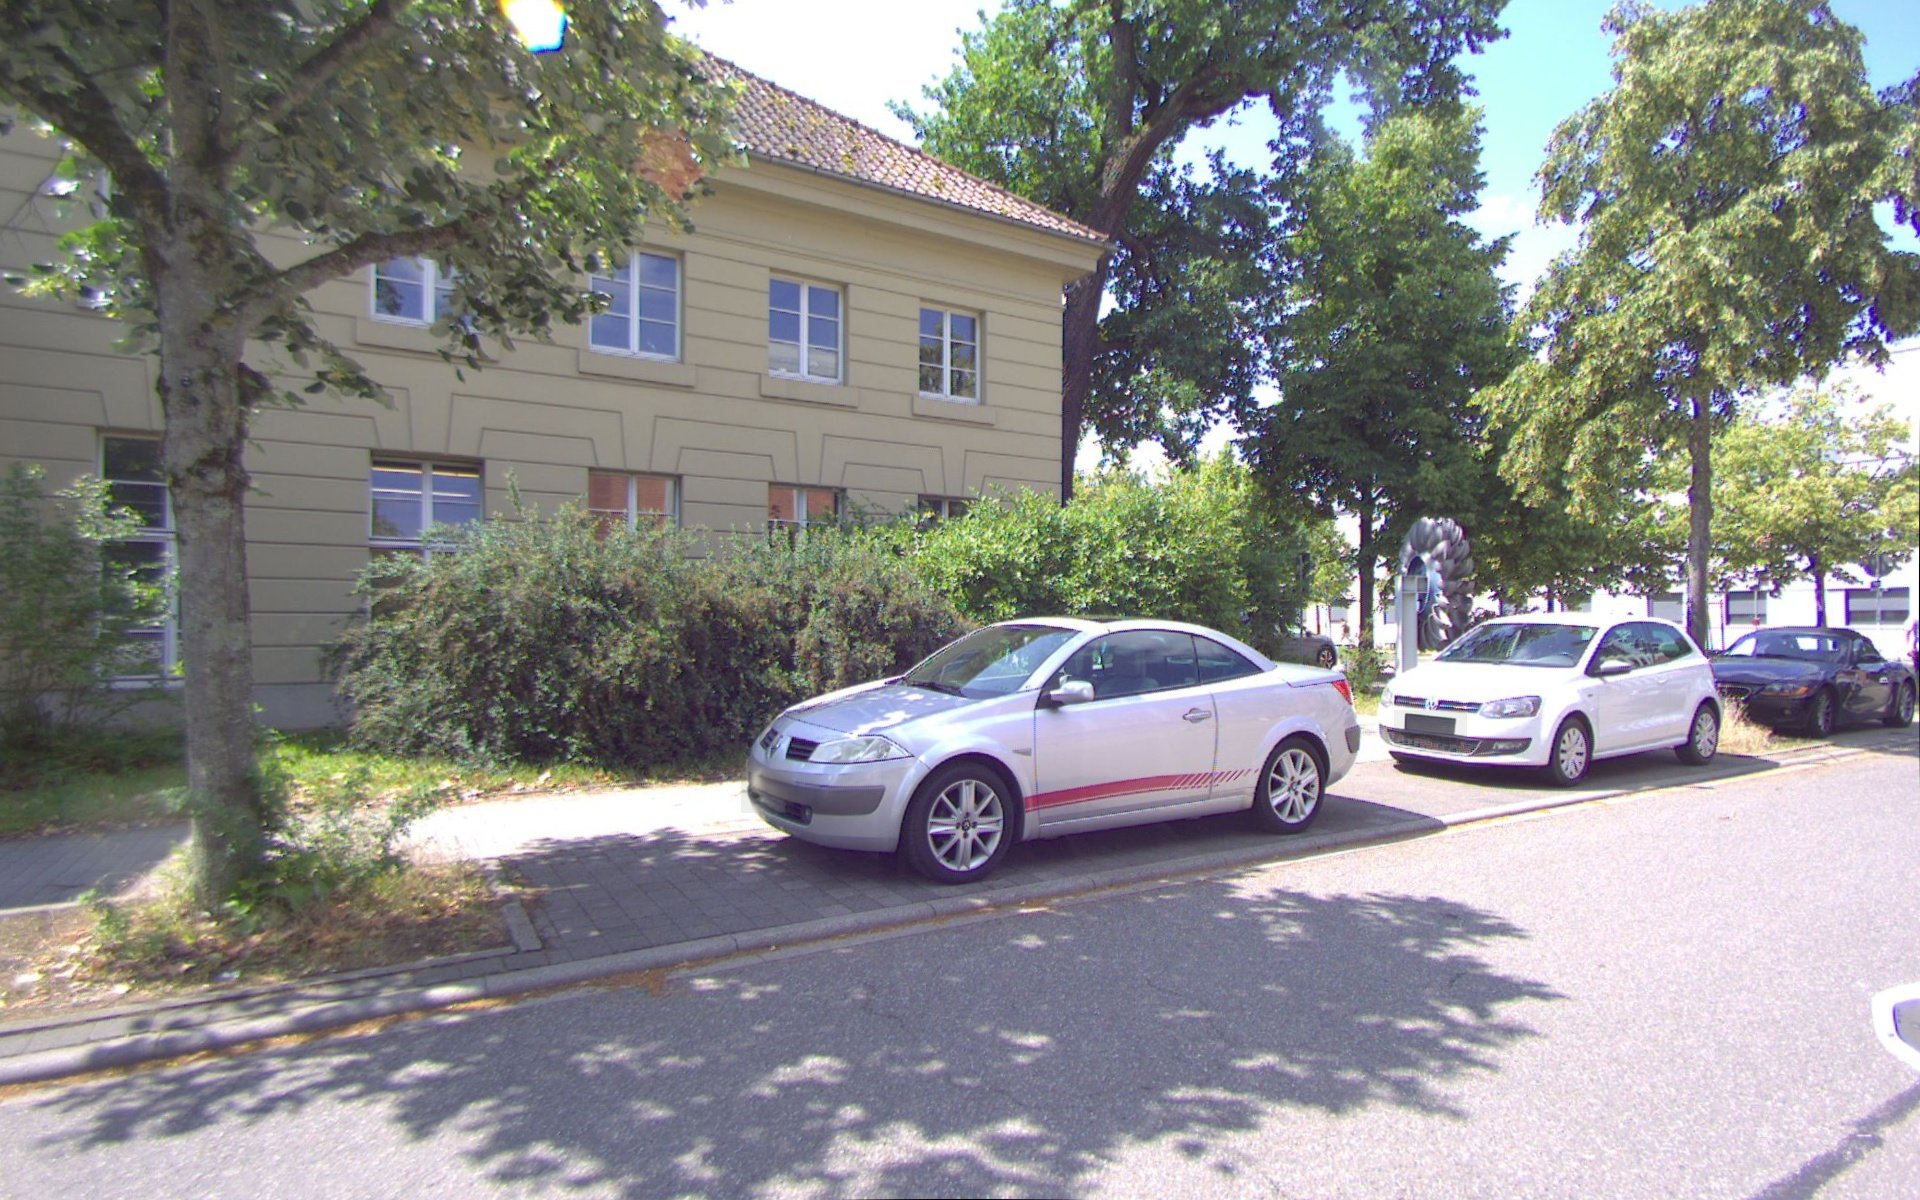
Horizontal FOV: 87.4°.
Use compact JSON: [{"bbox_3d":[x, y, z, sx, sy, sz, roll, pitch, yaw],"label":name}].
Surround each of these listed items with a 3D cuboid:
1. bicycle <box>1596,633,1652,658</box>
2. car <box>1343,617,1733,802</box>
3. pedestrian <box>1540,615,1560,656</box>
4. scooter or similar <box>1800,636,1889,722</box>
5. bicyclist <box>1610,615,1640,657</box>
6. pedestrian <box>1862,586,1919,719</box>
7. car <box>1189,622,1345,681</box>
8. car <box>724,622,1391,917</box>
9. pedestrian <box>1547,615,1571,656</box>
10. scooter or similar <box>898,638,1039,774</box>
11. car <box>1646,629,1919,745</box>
[{"bbox_3d":[28.490,1.932,43.136,0.796,1.015,2.121,1,-1,-9],"label":"bicycle"},{"bbox_3d":[5.575,0.894,9.593,3.764,1.430,1.653,1,0,-32],"label":"car"},{"bbox_3d":[25.663,1.534,43.691,0.579,1.788,0.549,1,-1,-30],"label":"pedestrian"},{"bbox_3d":[14.126,1.244,16.036,1.197,1.316,0.504,0,-2,-19],"label":"scooter or similar"},{"bbox_3d":[28.476,1.543,43.008,0.796,1.779,0.691,1,-1,-11],"label":"bicyclist"},{"bbox_3d":[14.419,0.766,15.017,0.998,1.928,1.178,-1,-2,23],"label":"pedestrian"},{"bbox_3d":[9.011,1.496,29.404,4.391,1.535,1.918,0,-4,-32],"label":"car"},{"bbox_3d":[0.728,0.850,6.559,4.115,1.361,1.717,1,0,-30],"label":"car"},{"bbox_3d":[26.321,1.560,44.167,0.629,1.772,0.690,1,-1,-30],"label":"pedestrian"},{"bbox_3d":[0.067,0.943,9.127,1.206,1.187,0.471,1,-1,-11],"label":"scooter or similar"},{"bbox_3d":[10.893,1.042,13.162,3.881,1.318,1.637,1,-2,-30],"label":"car"}]
